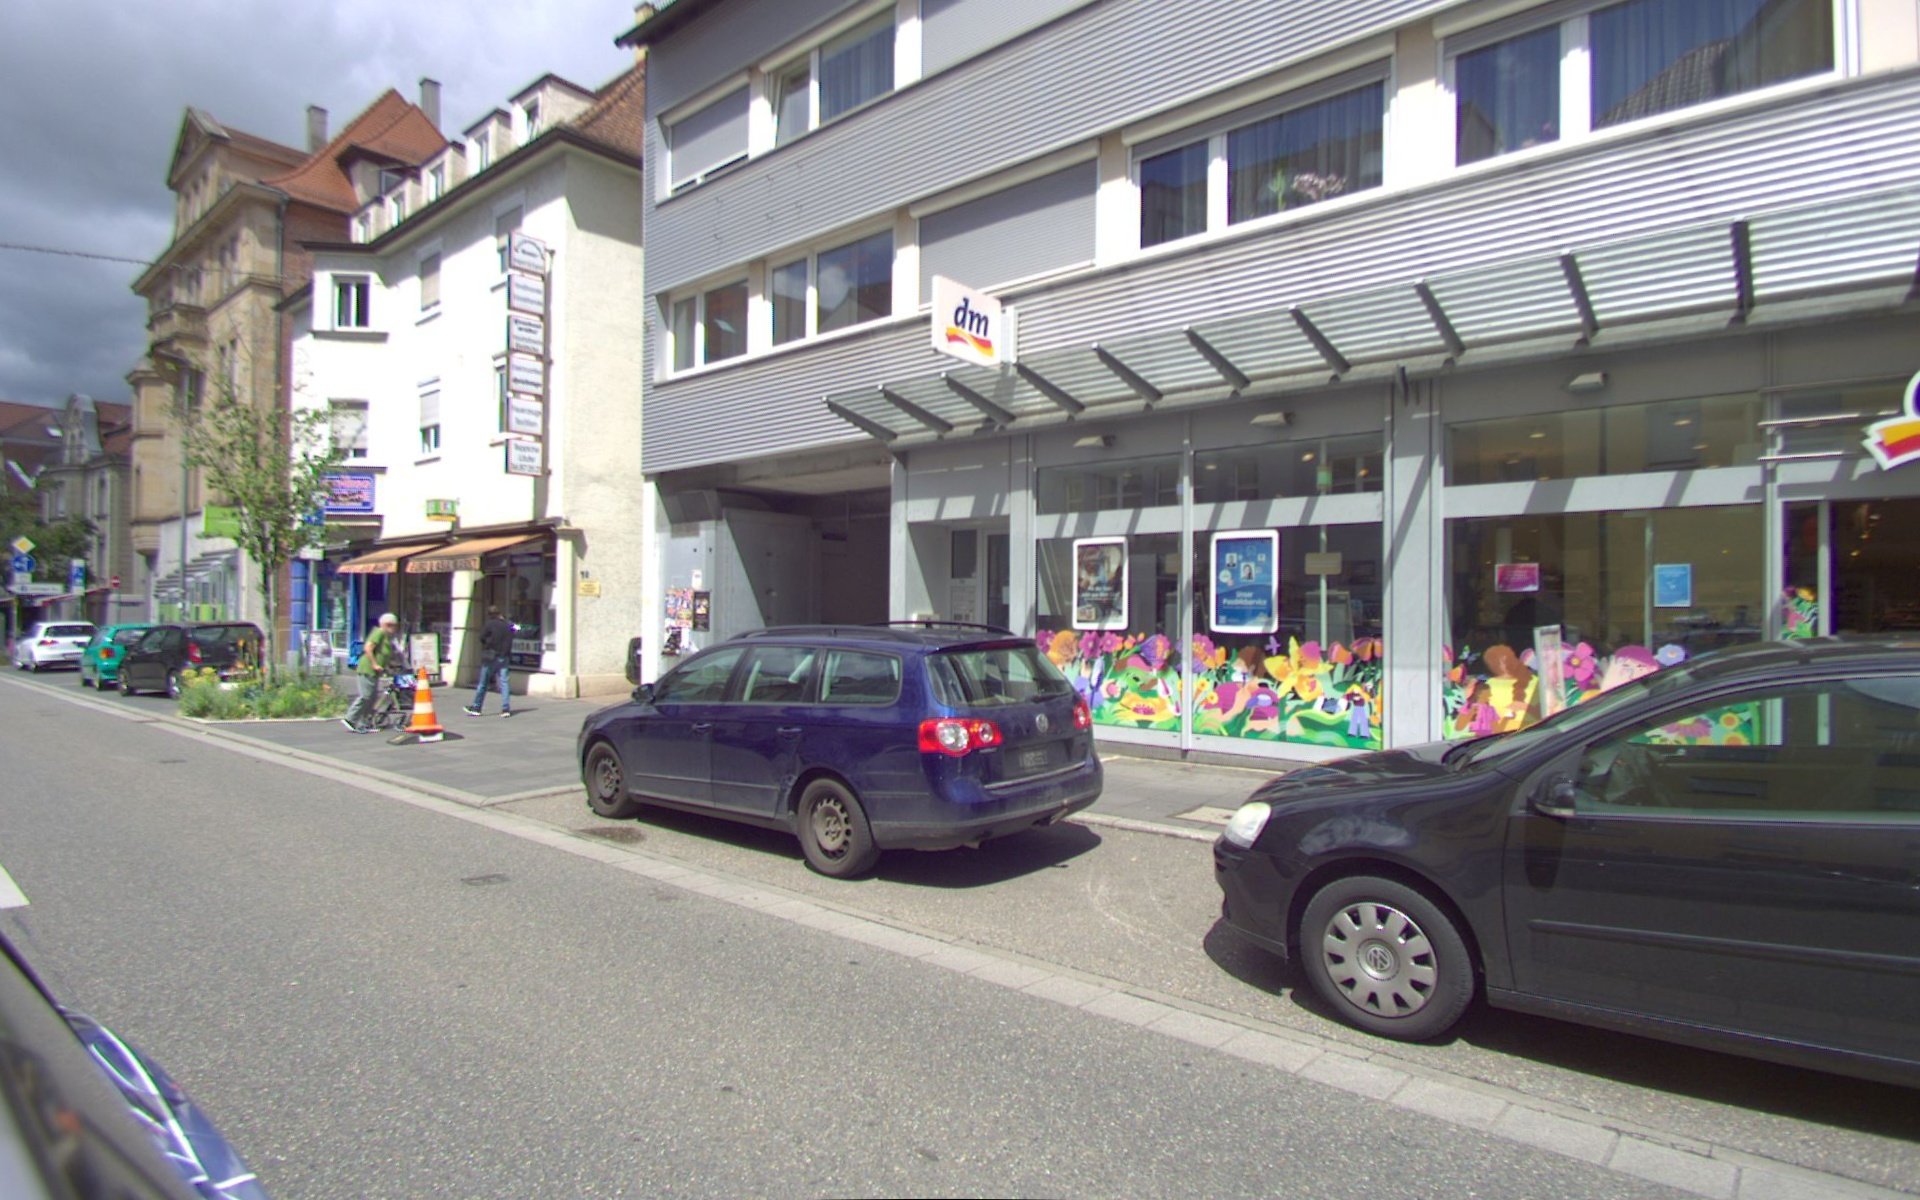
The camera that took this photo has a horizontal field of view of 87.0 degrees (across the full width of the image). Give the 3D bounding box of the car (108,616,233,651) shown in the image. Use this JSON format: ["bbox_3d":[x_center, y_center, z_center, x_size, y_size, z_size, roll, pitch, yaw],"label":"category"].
[{"bbox_3d":[-37.729,1.575,48.502,1.985,1.391,4.359,-1,1,20],"label":"car"}]

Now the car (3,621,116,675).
[{"bbox_3d":[-26.812,1.388,30.087,4.031,1.408,1.828,0,0,38],"label":"car"}]

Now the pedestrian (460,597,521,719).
[{"bbox_3d":[-7.036,0.845,15.153,0.728,1.770,0.543,0,0,38],"label":"pedestrian"}]

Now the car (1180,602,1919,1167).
[{"bbox_3d":[3.082,0.782,3.524,4.173,1.515,1.773,-1,0,39],"label":"car"}]

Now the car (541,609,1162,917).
[{"bbox_3d":[-1.061,0.853,7.345,4.711,1.524,1.771,-1,0,42],"label":"car"}]

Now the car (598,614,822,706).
[{"bbox_3d":[-4.507,1.011,18.657,1.655,1.420,3.782,0,1,40],"label":"car"}]

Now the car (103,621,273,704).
[{"bbox_3d":[-15.266,1.174,19.981,3.547,1.457,1.584,-1,0,34],"label":"car"}]

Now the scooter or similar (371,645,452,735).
[{"bbox_3d":[-7.487,1.206,13.833,0.629,1.134,0.774,0,0,36],"label":"scooter or similar"}]

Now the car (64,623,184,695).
[{"bbox_3d":[-18.934,1.269,22.883,3.668,1.425,1.569,0,0,42],"label":"car"}]

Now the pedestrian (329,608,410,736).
[{"bbox_3d":[-7.863,0.924,13.474,0.650,1.630,0.725,0,0,36],"label":"pedestrian"}]
